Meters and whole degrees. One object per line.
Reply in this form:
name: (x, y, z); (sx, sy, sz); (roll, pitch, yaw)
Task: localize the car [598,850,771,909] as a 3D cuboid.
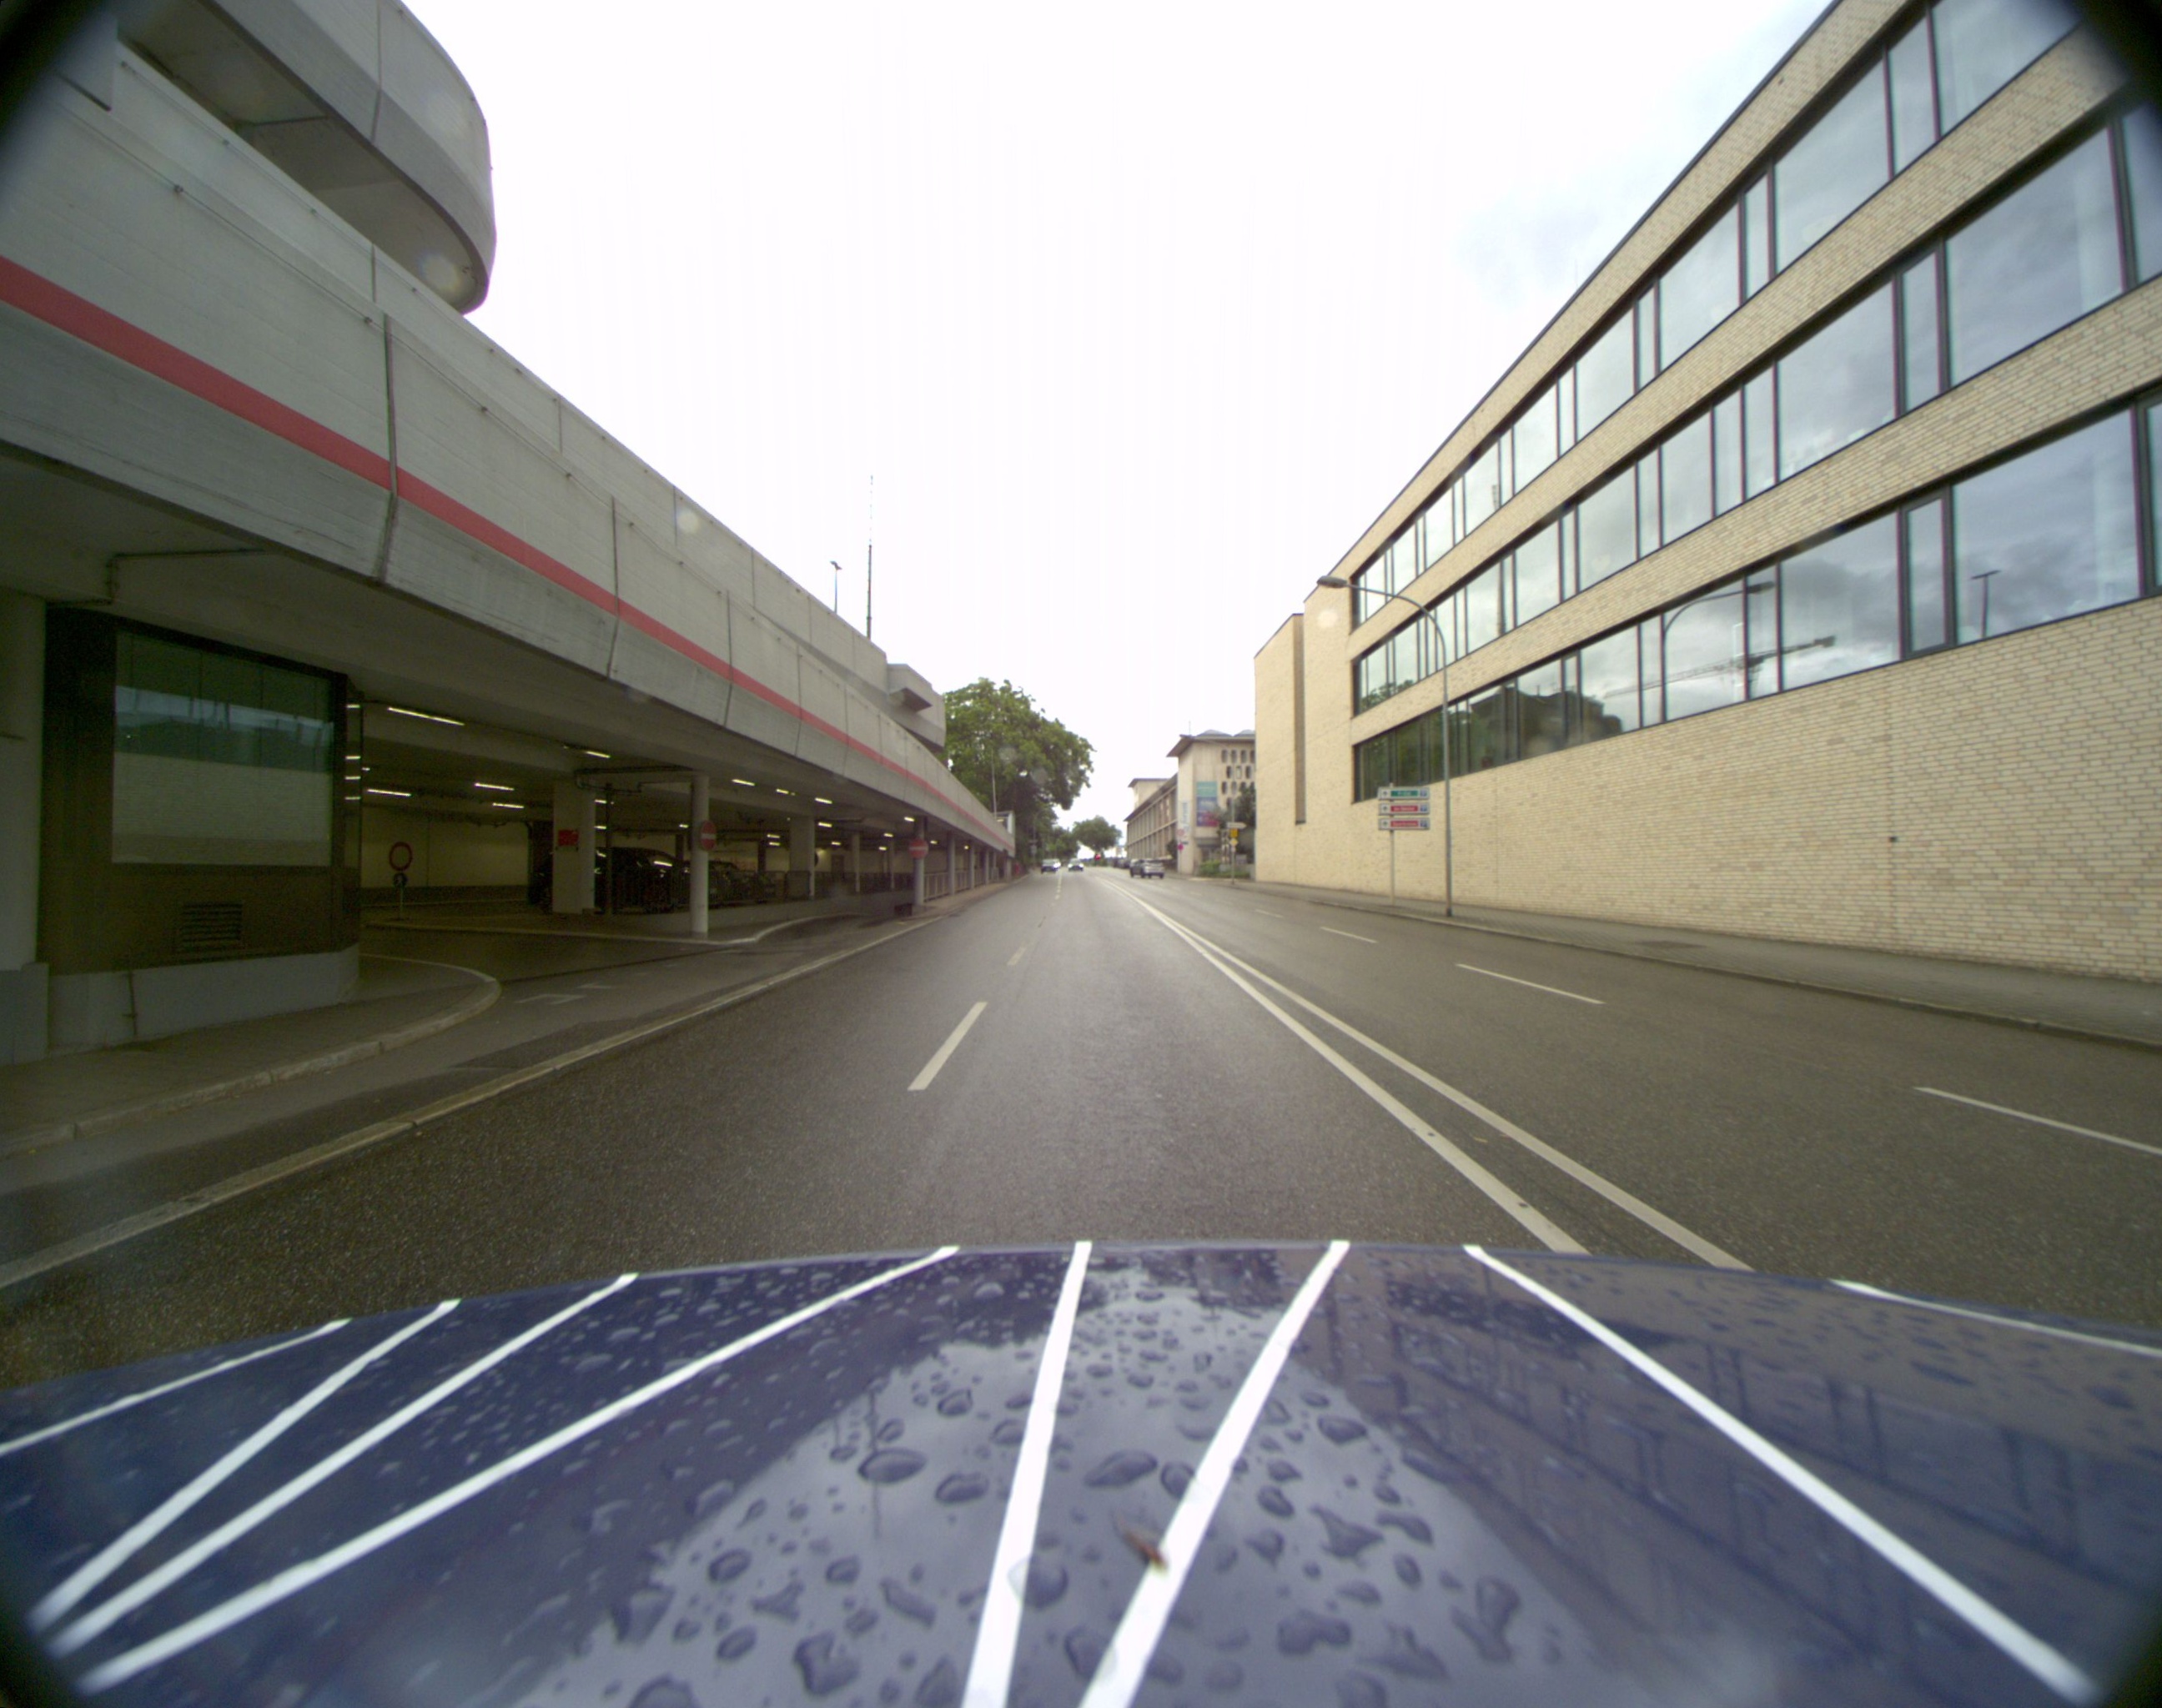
car: (-11.916, 0.822, 22.983); (4.251, 1.650, 2.003); (-1, -4, 10)

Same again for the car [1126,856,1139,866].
car: (8.208, 1.116, 121.513); (1.800, 1.516, 4.056); (-2, -1, 1)

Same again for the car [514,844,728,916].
car: (-11.386, 0.698, 18.959); (4.251, 1.650, 2.003); (-1, -4, 10)

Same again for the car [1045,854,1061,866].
car: (-3.772, 0.818, 103.210); (1.915, 1.443, 4.036); (-2, 1, 0)

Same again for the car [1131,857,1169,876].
car: (5.719, 1.040, 63.315); (1.803, 1.516, 4.051); (-2, -1, -16)

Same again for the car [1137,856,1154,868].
car: (8.620, 1.092, 101.797); (1.800, 1.516, 4.056); (-2, -1, 1)

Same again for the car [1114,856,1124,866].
car: (7.062, 1.290, 142.590); (1.698, 1.715, 3.756); (-2, 1, 1)

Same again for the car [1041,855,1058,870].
car: (-3.494, 0.949, 85.020); (1.683, 1.516, 3.990); (-2, -1, 1)

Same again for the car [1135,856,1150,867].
car: (8.601, 1.061, 106.851); (1.800, 1.516, 4.056); (-2, -1, 1)

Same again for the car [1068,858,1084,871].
car: (-0.549, 1.271, 92.910); (1.852, 1.516, 3.990); (-2, -1, 1)

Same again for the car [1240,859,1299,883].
car: (13.814, 1.220, 55.577); (3.991, 1.652, 1.864); (-1, 0, 20)
